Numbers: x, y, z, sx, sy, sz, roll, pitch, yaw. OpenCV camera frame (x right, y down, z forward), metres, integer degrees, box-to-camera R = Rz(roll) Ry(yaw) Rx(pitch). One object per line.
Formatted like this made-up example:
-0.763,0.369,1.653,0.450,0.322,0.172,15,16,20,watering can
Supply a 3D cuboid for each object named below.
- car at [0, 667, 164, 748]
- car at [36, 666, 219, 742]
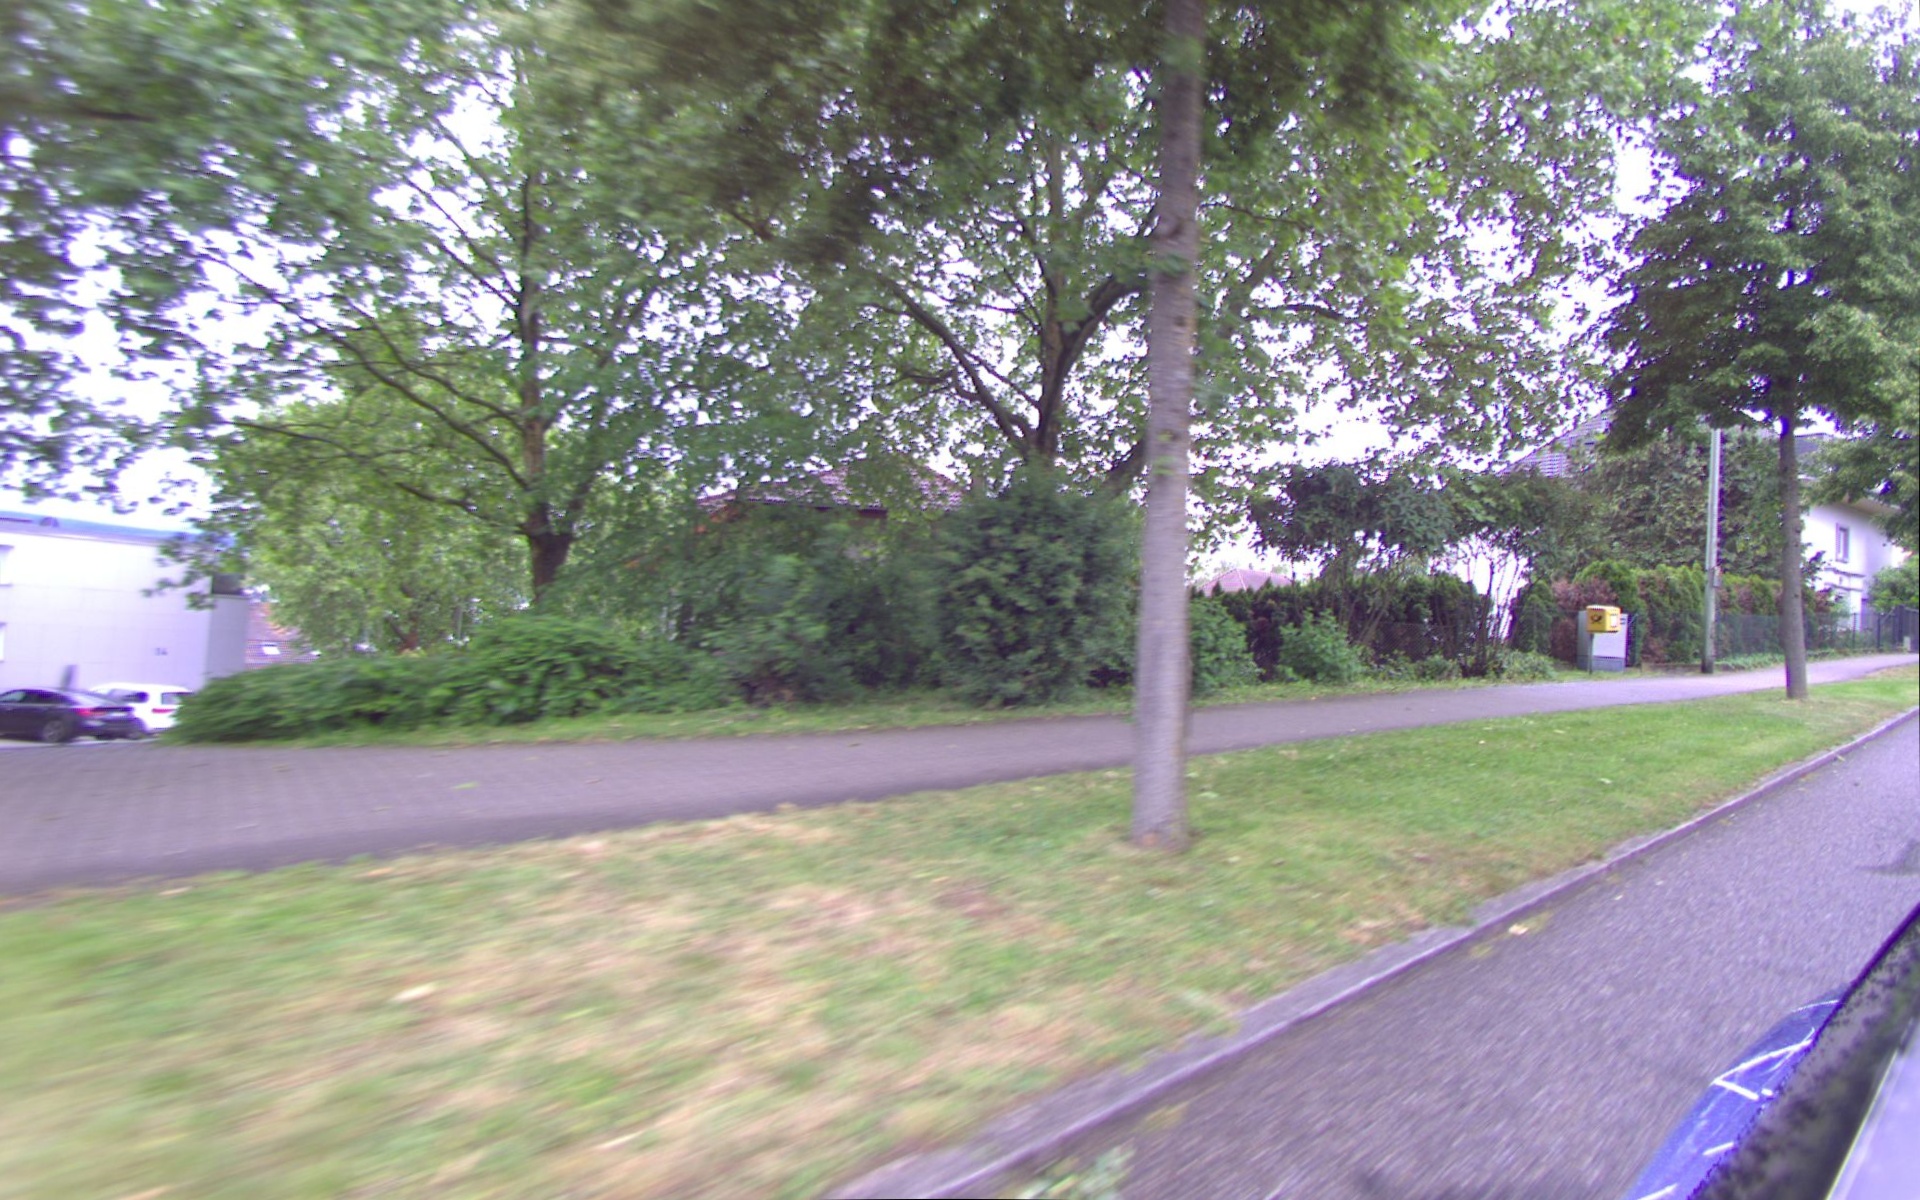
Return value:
-26.642,3.113,29.635,4.626,1.864,2.354,6,-6,3,car
-26.626,3.281,32.456,4.233,1.863,2.082,5,-2,8,car
